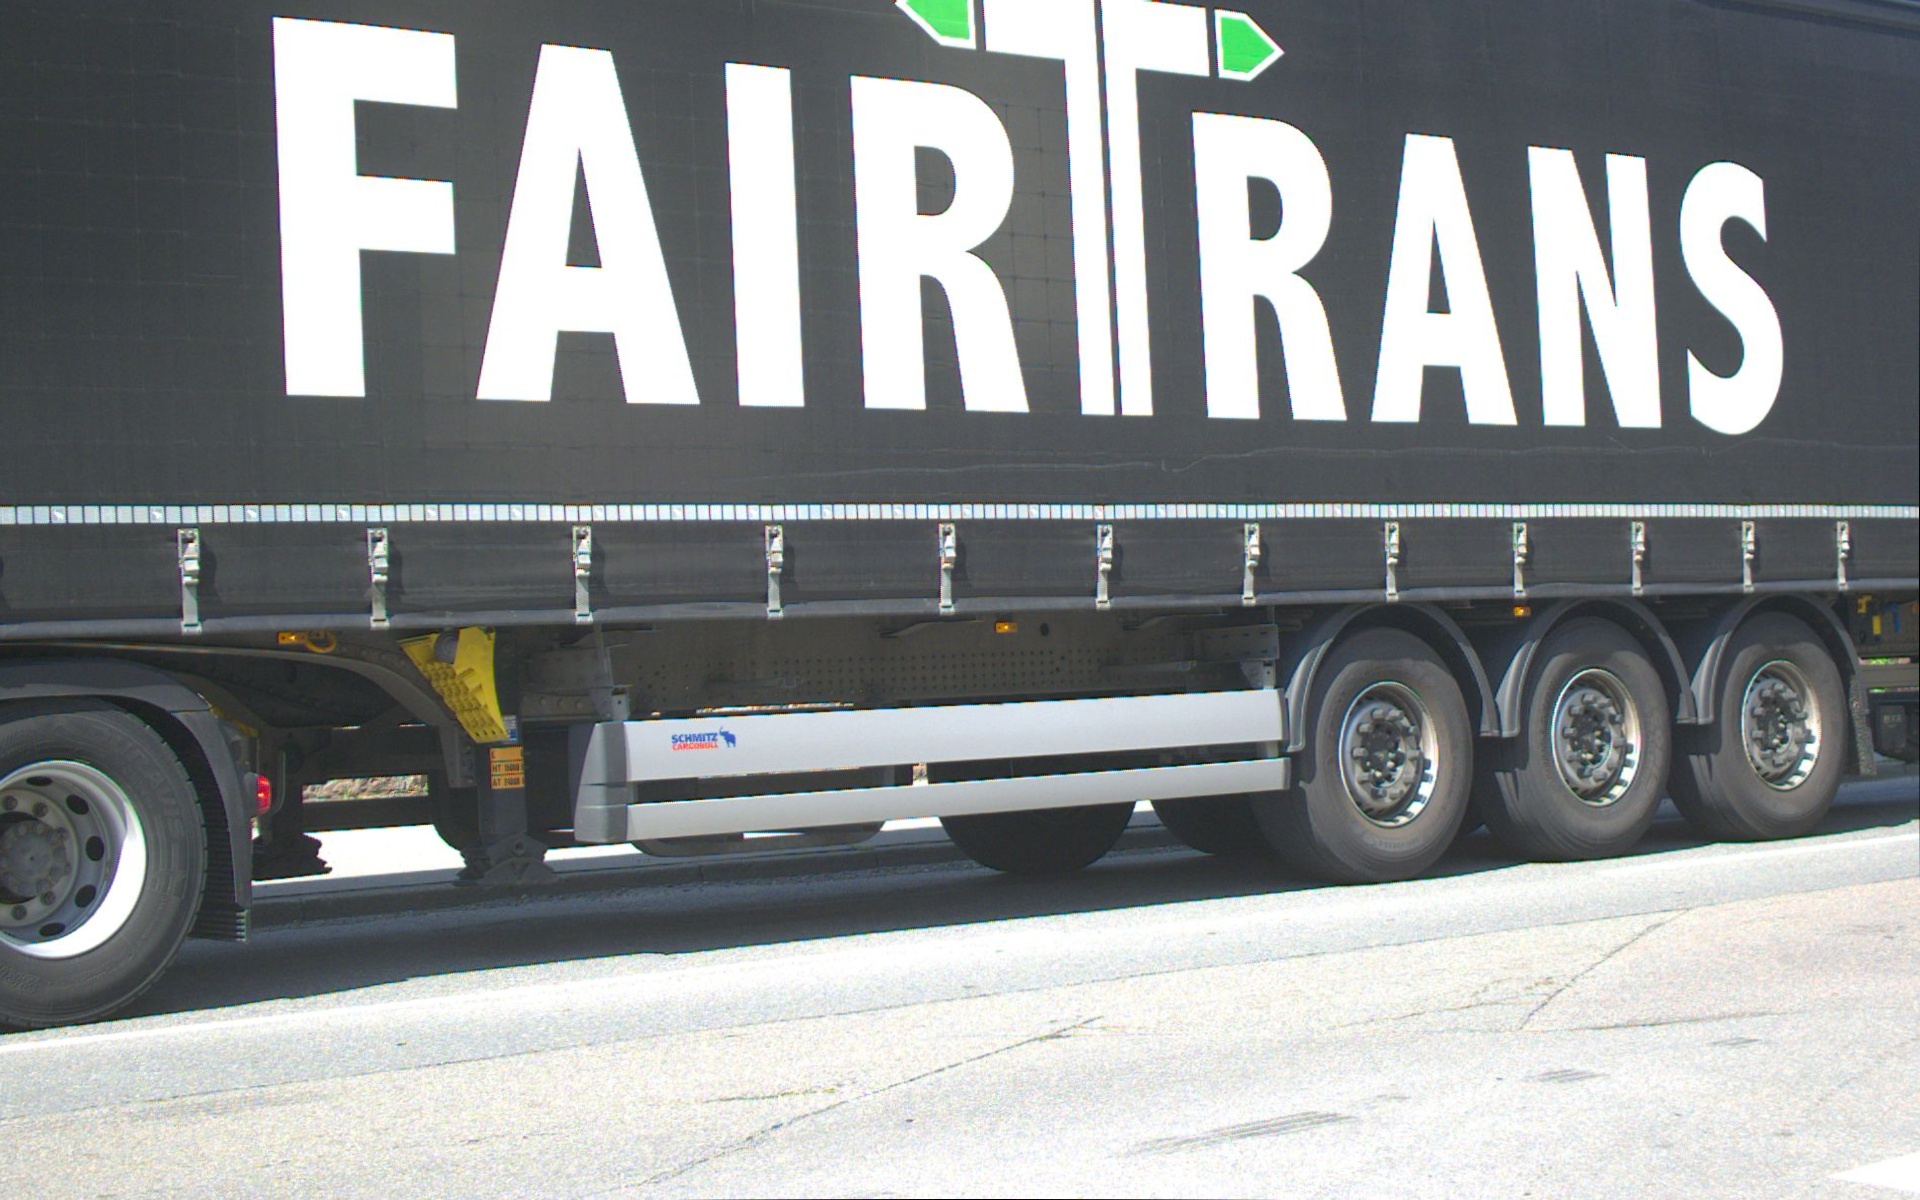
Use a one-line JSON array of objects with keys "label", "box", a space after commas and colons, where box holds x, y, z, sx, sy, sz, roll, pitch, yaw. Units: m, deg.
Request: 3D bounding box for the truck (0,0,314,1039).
[{"label": "truck", "box": [-5.247, -0.662, 9.838, 5.915, 4.057, 2.838, -2, -1, -40]}]

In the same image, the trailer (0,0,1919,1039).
[{"label": "trailer", "box": [-0.070, -0.849, 14.169, 13.732, 4.090, 2.841, -2, -1, -40]}]
